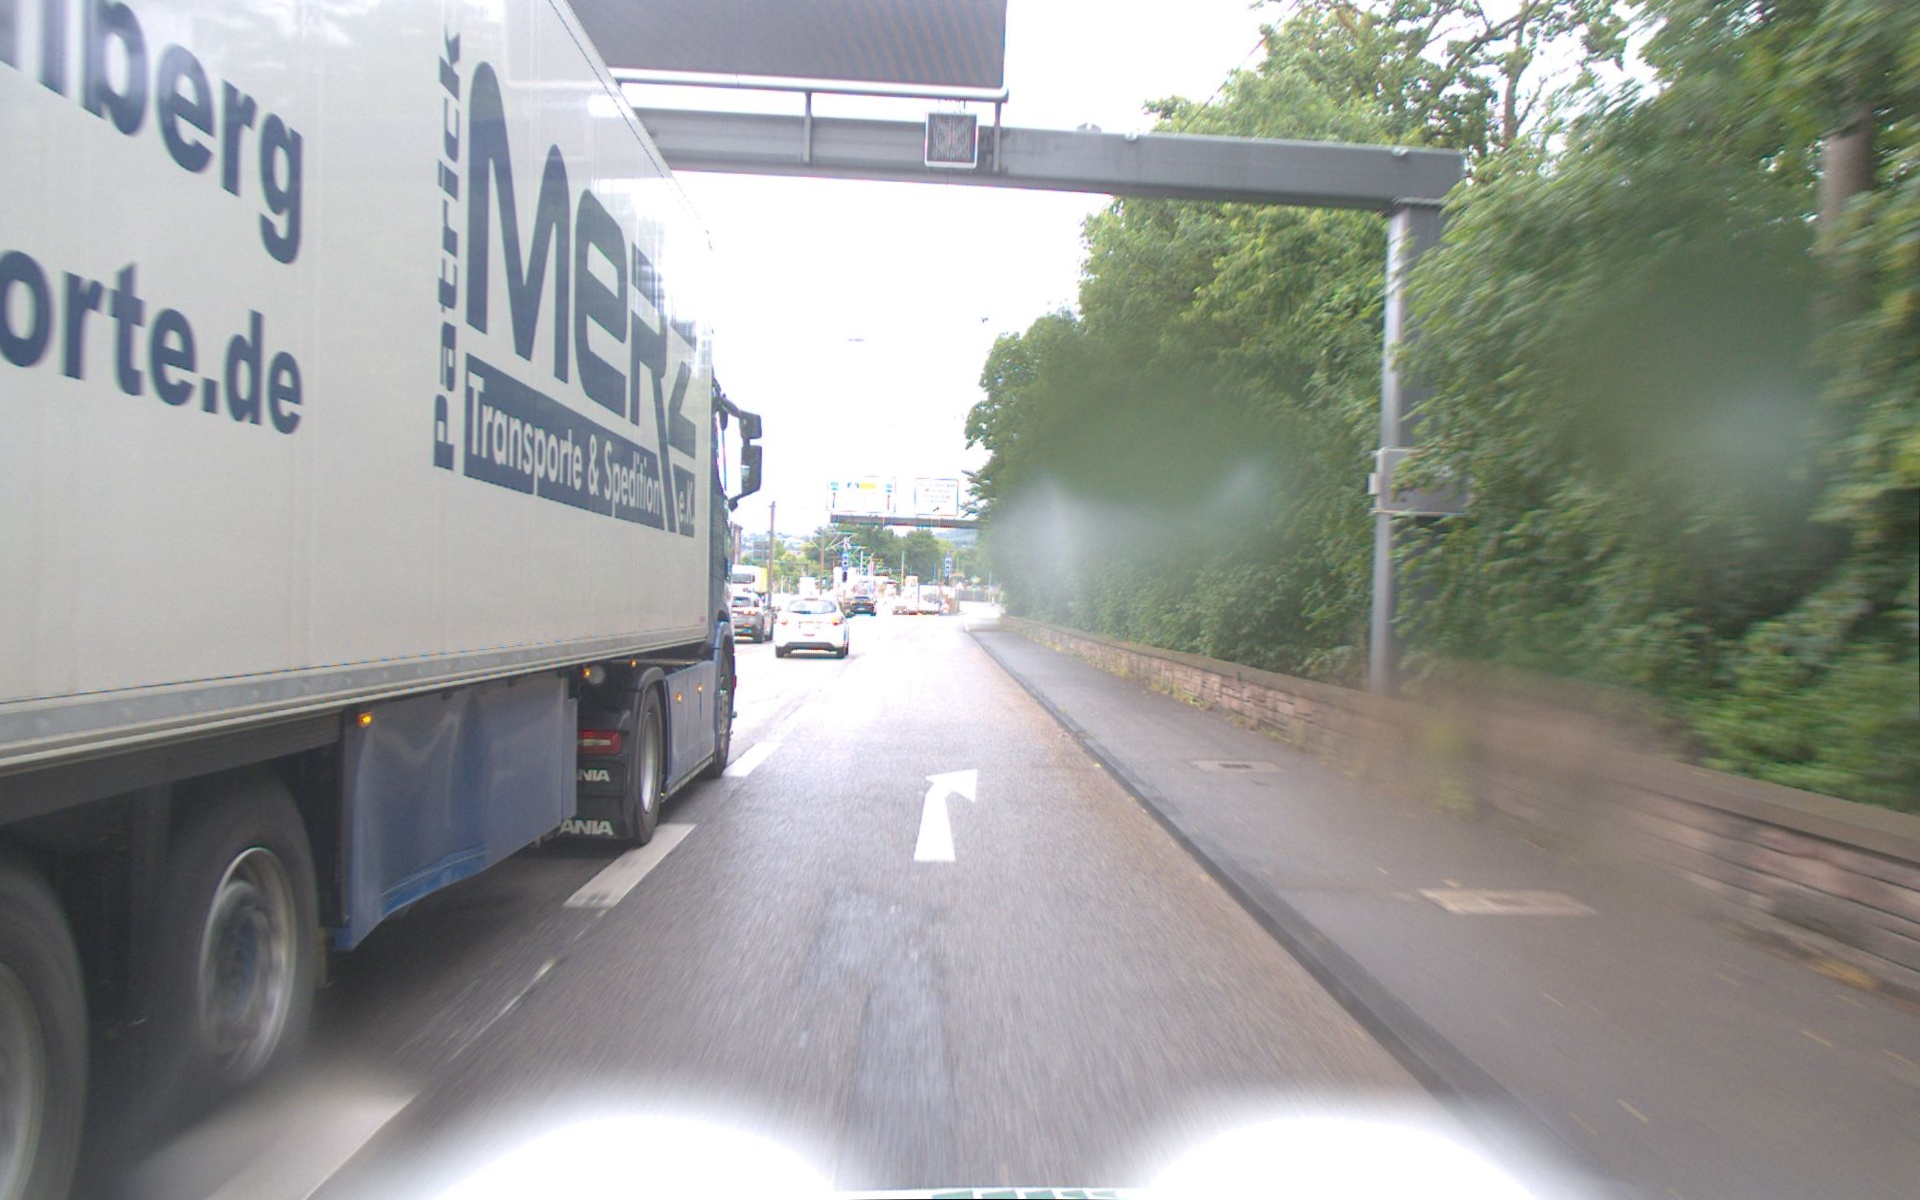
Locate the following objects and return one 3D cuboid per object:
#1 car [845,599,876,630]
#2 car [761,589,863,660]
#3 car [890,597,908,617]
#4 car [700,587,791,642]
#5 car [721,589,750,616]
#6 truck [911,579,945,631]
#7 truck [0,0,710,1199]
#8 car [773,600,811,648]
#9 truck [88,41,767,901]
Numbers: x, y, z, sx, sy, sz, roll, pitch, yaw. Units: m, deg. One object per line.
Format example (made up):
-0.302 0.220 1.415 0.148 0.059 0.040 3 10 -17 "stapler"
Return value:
-7.086 1.059 118.332 1.953 2.049 3.998 2 -3 -1 "car"
-3.566 0.554 40.525 1.915 1.514 4.002 2 1 2 "car"
-6.861 0.797 186.342 1.953 2.049 3.998 2 -3 -1 "car"
-6.546 0.413 50.809 1.782 1.593 4.095 -1 0 7 "car"
-19.209 0.245 141.624 1.953 2.049 3.998 2 -3 -1 "car"
-3.778 0.687 197.376 3.393 5.496 12.051 2 -3 1 "truck"
-2.846 -0.637 4.579 2.706 4.270 13.027 0 1 -2 "truck"
-7.864 1.085 77.057 1.688 1.923 3.531 0 4 -7 "car"
-3.042 -0.675 11.650 2.706 4.270 6.783 0 1 -1 "truck"
